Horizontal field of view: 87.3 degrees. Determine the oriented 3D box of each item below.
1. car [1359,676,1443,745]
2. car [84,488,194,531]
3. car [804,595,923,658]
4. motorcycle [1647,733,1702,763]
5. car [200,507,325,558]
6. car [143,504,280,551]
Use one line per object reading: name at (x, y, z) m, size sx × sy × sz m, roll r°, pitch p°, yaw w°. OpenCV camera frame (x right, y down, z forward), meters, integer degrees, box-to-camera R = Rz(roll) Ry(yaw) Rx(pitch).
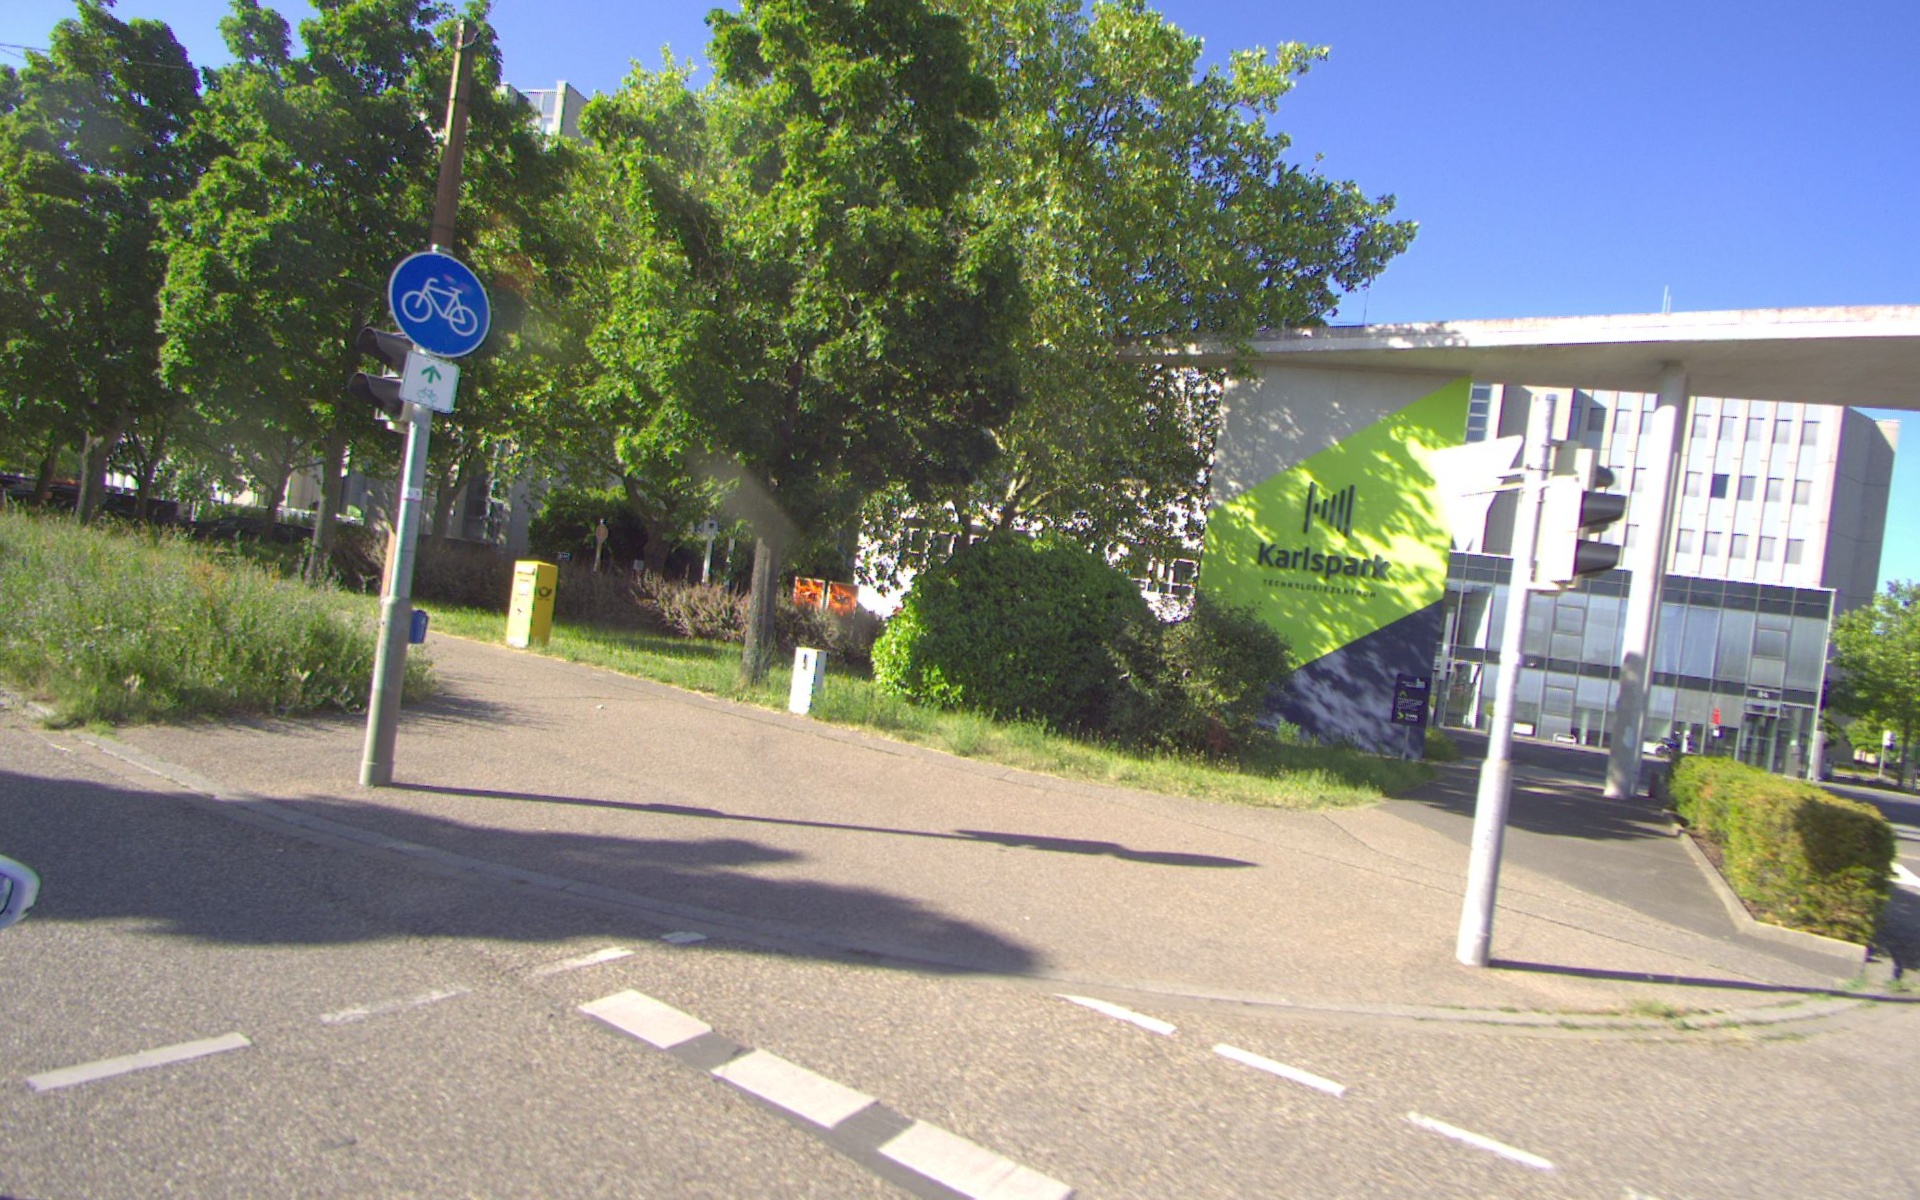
car at (12.673, 3.128, 28.991) m, size 1.919 × 1.596 × 4.001 m, roll 7°, pitch -2°, yaw 24°
car at (-43.021, -4.715, 52.826) m, size 3.947 × 1.531 × 1.990 m, roll 8°, pitch -1°, yaw -22°
car at (-3.246, 0.960, 34.781) m, size 1.861 × 1.706 × 4.468 m, roll 7°, pitch -2°, yaw 27°
motorcycle at (30.599, 6.325, 43.092) m, size 1.701 × 0.959 × 0.653 m, roll 7°, pitch -1°, yaw 18°
car at (-31.419, -3.010, 45.463) m, size 4.177 × 1.574 × 1.918 m, roll 8°, pitch -1°, yaw -23°
car at (-34.549, -3.318, 46.620) m, size 4.625 × 1.343 × 2.080 m, roll 8°, pitch -1°, yaw -23°
